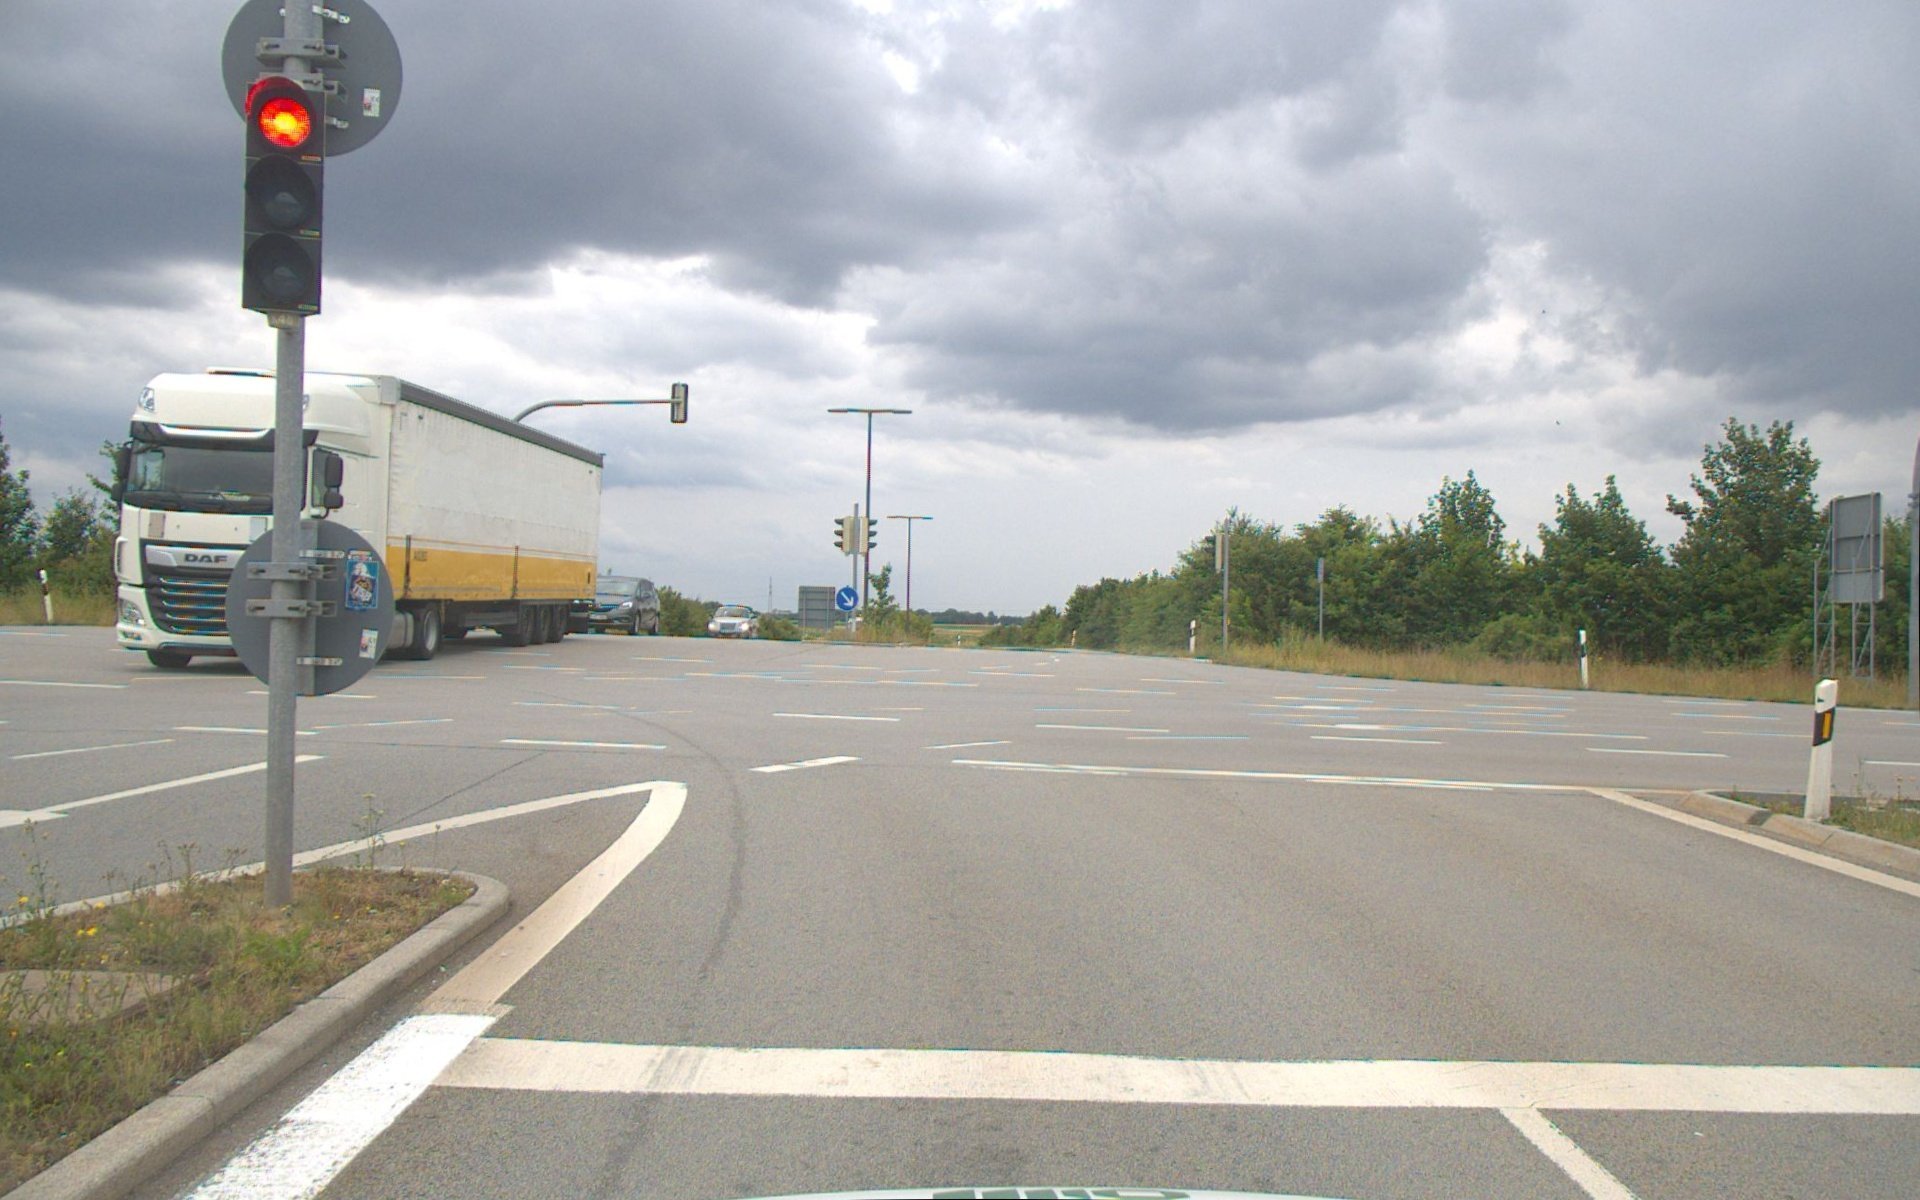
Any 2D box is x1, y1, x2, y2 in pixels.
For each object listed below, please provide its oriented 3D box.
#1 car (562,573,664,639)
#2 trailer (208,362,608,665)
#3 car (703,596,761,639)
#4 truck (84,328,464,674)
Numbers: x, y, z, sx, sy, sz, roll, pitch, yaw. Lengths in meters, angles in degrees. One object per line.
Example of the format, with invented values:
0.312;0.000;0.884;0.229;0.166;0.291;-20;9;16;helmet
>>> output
-9.608;0.158;46.142;1.953;1.723;4.454;1;0;-1;car
-9.359;-1.212;30.571;2.636;4.284;13.840;1;0;0;trailer
-9.135;0.689;66.464;1.773;1.546;4.242;2;1;-1;car
-9.396;-1.204;23.541;2.595;4.213;6.403;1;0;1;truck
